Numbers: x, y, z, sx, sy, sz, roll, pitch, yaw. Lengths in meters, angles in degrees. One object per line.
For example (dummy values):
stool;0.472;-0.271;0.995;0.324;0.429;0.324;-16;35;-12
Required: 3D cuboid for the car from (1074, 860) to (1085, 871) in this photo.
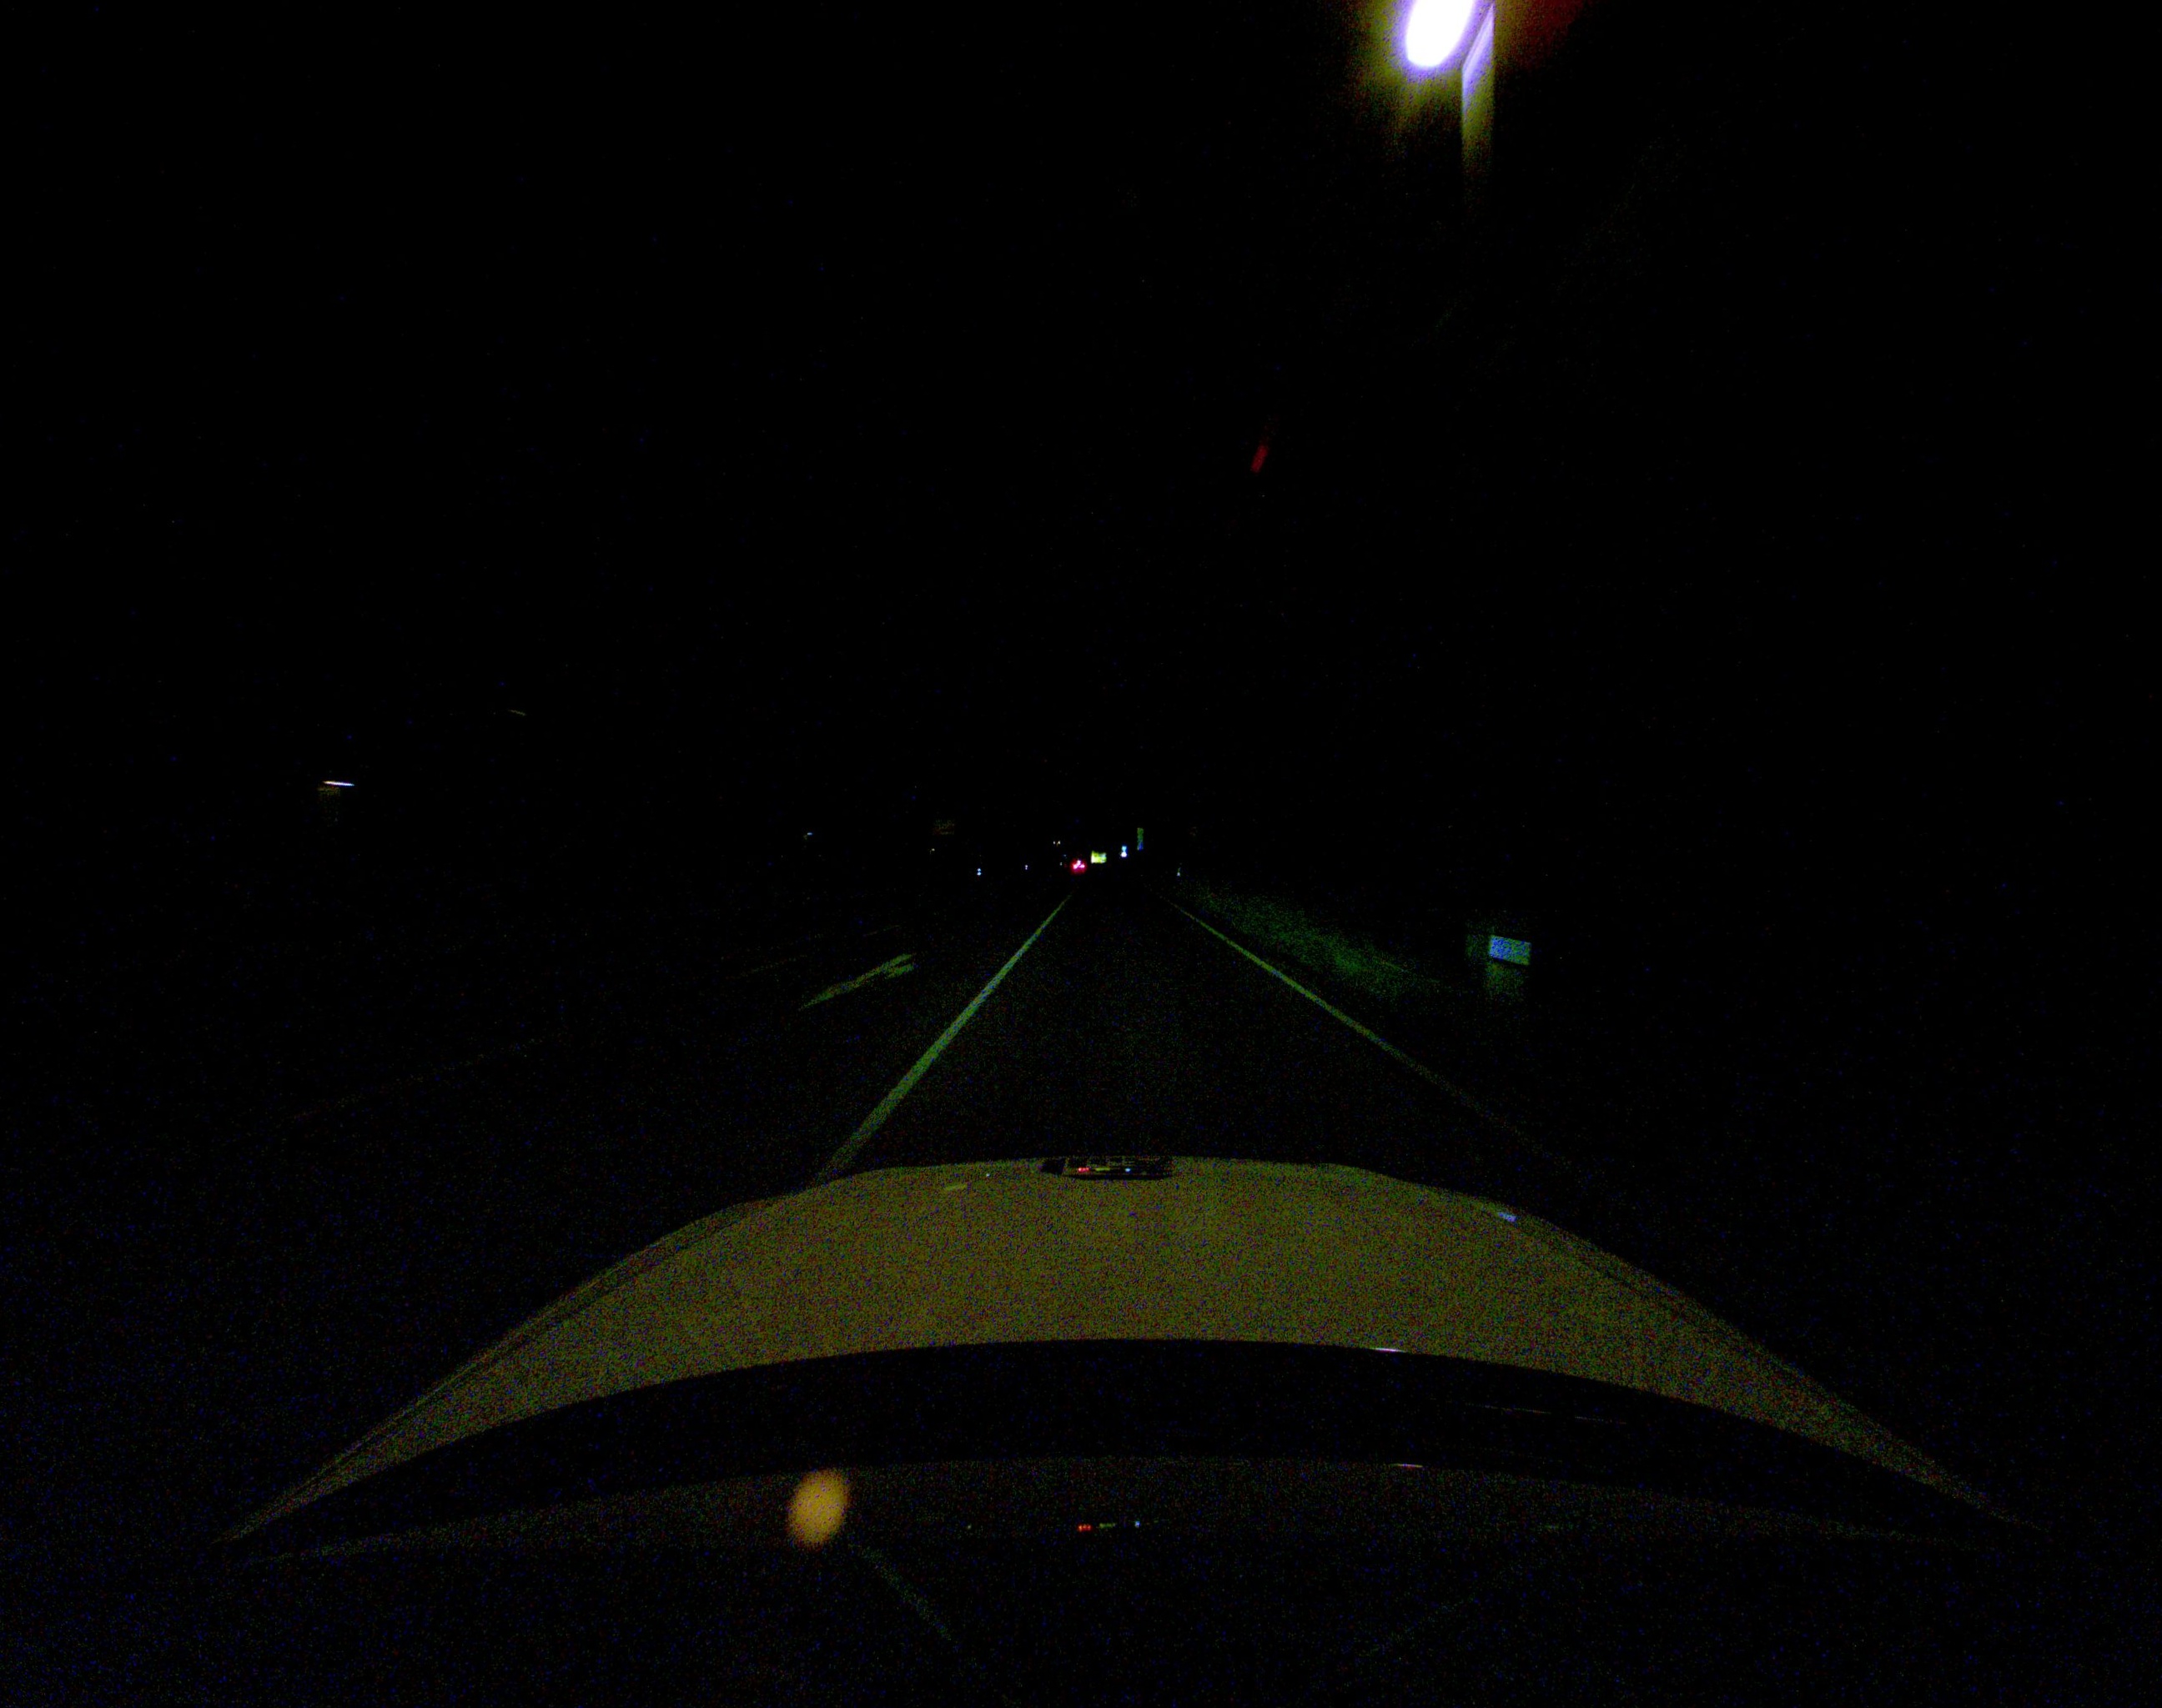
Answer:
car;-0.242;2.228;157.944;1.989;2.014;3.995;1;-3;-3
